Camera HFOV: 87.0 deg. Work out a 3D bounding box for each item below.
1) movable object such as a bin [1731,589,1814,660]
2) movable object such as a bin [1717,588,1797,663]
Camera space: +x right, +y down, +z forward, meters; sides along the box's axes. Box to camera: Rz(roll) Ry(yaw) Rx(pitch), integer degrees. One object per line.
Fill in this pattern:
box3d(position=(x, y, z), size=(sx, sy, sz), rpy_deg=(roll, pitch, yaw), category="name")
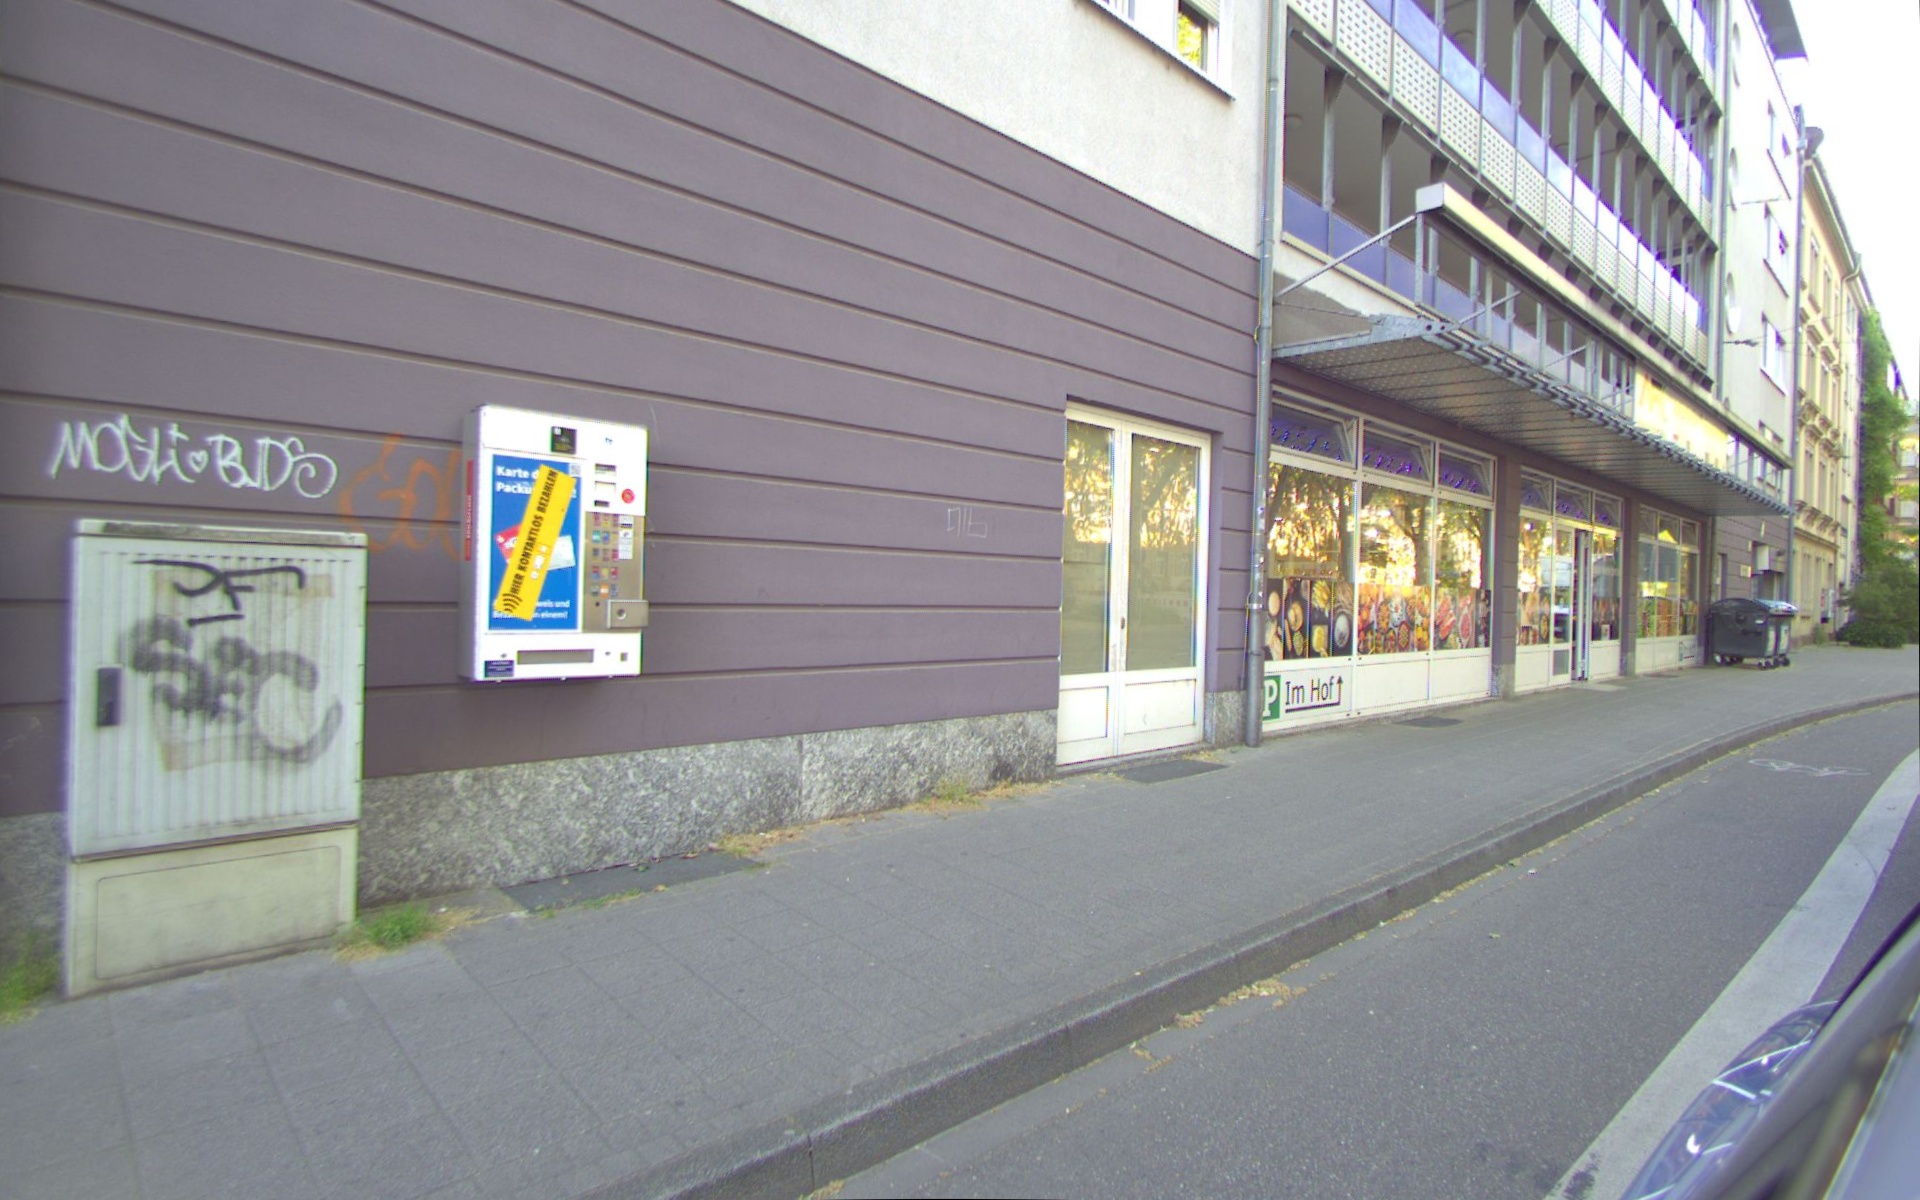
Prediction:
box3d(position=(17.788, 0.514, 22.162), size=(1.282, 1.464, 1.123), rpy_deg=(1, 1, -38), category="movable object such as a bin")
box3d(position=(16.439, 0.494, 20.874), size=(1.274, 1.465, 1.068), rpy_deg=(1, 1, -42), category="movable object such as a bin")
